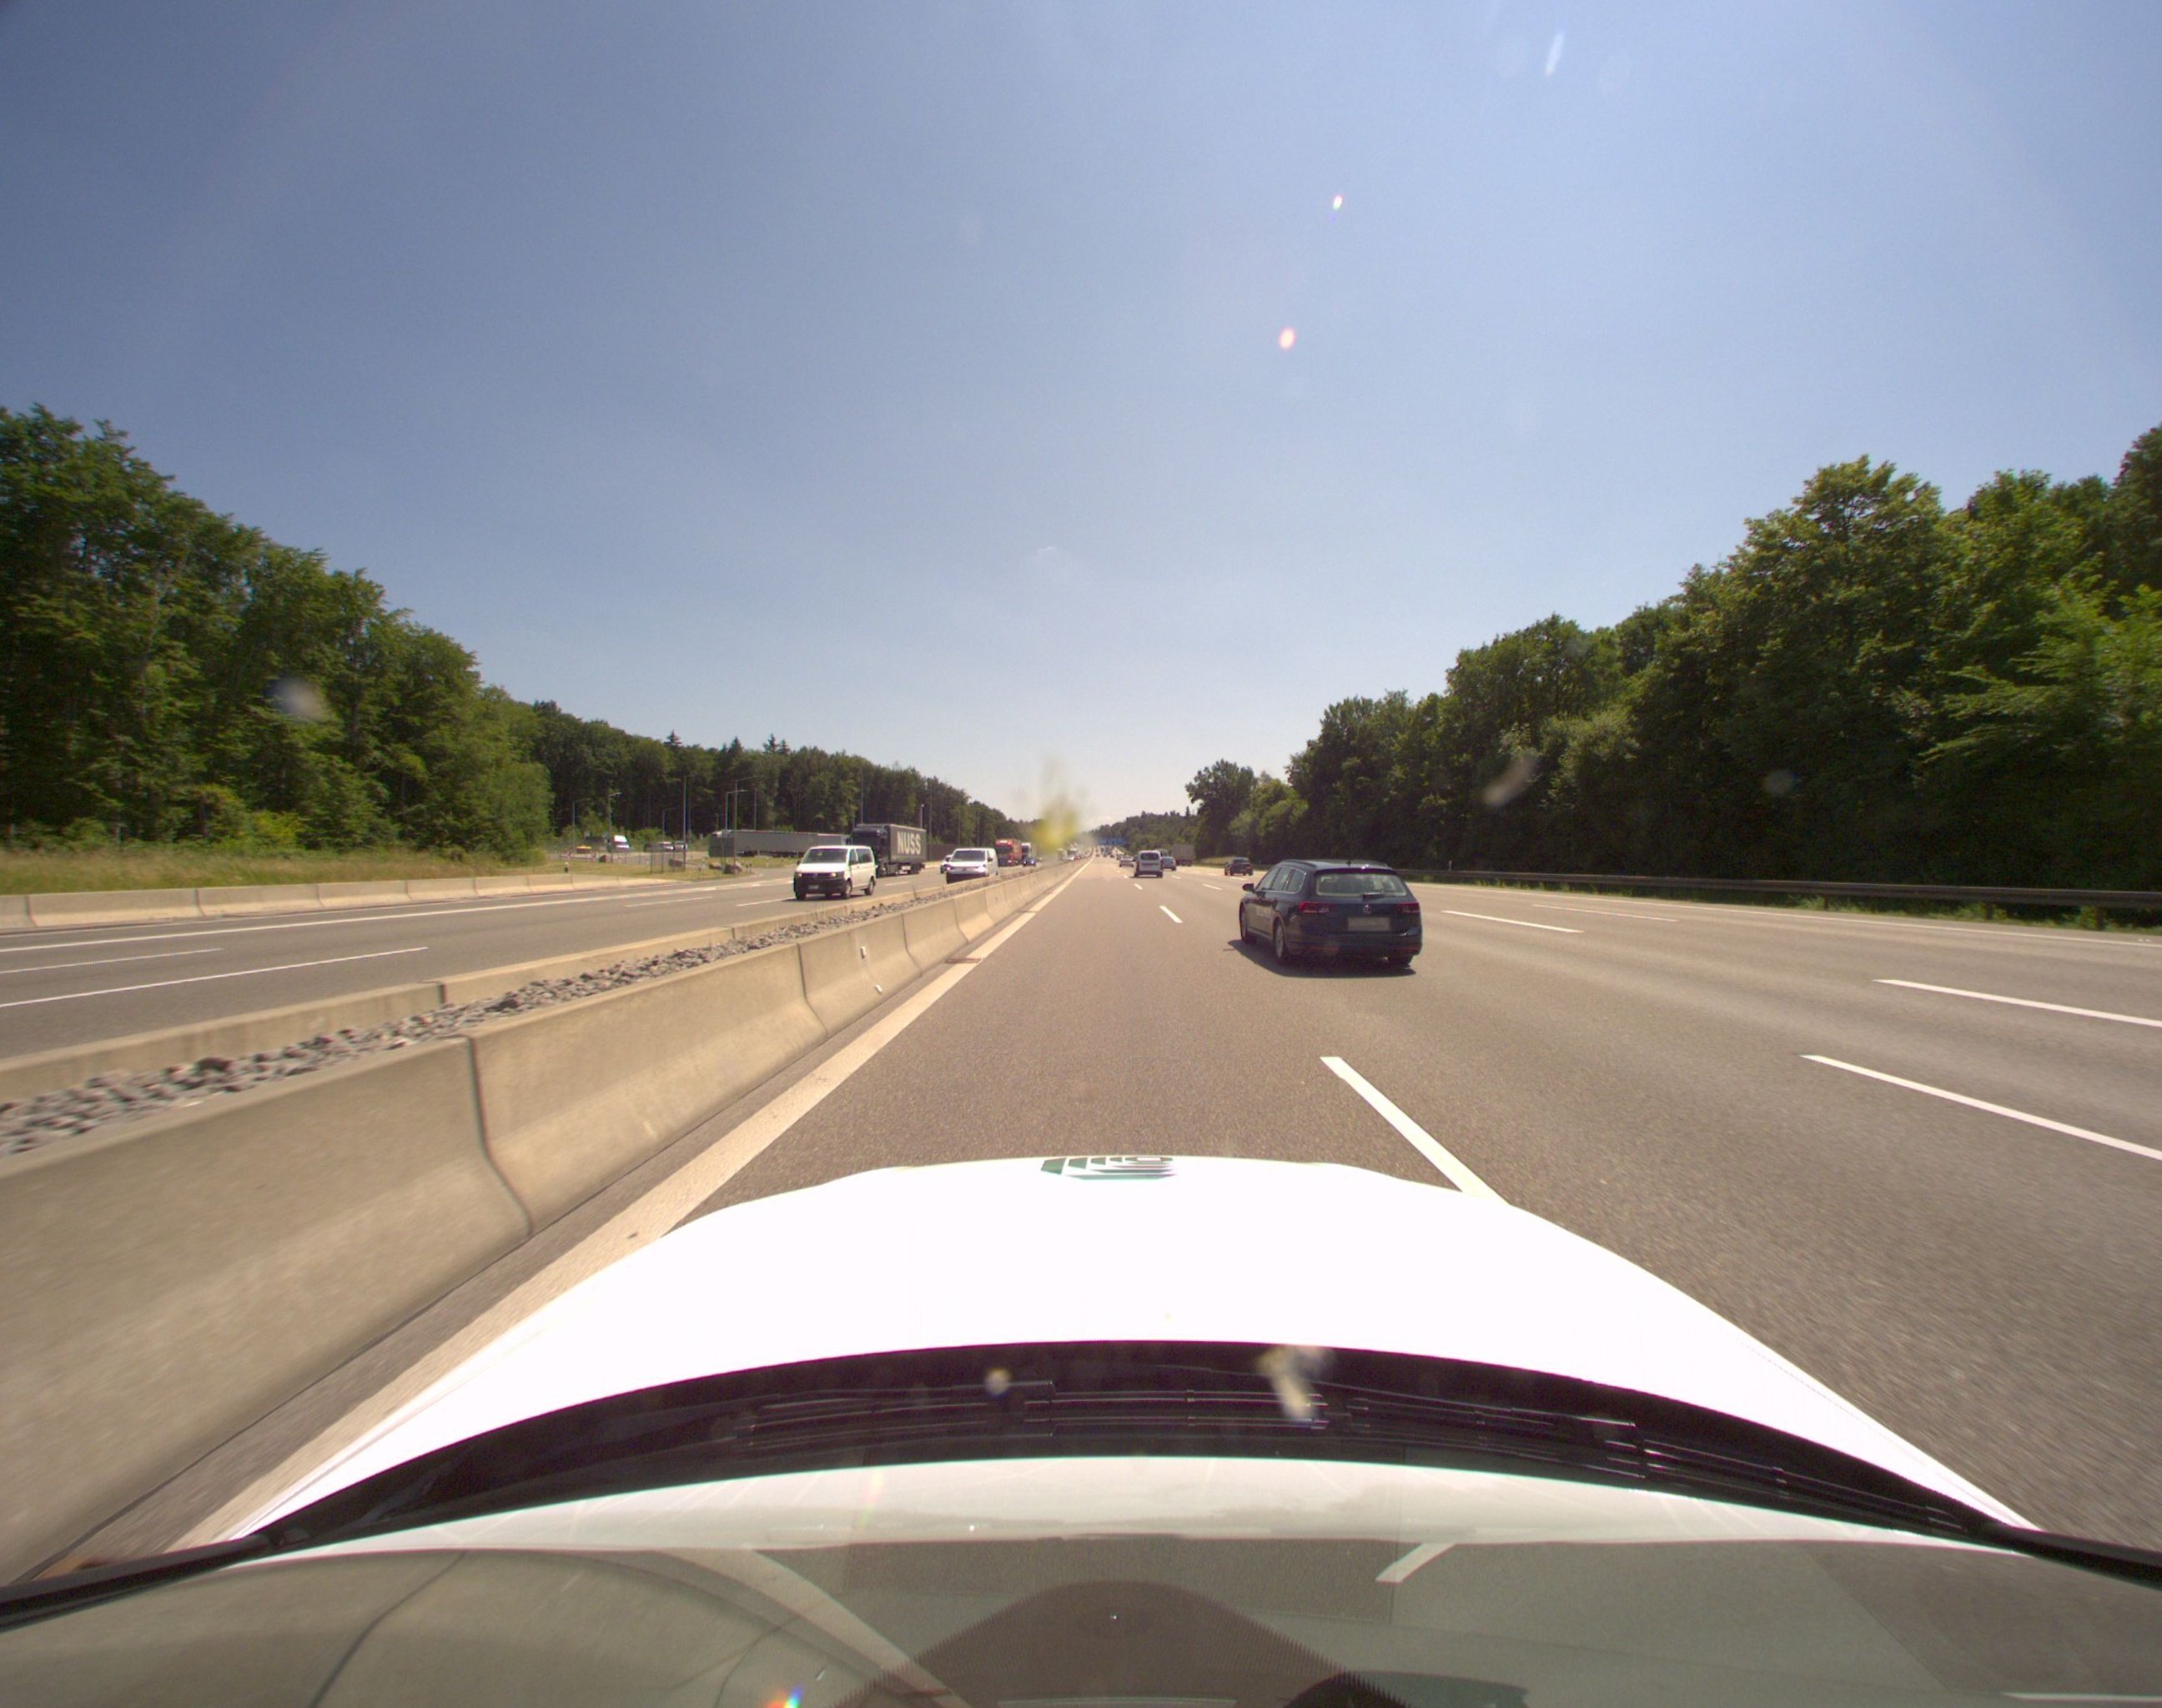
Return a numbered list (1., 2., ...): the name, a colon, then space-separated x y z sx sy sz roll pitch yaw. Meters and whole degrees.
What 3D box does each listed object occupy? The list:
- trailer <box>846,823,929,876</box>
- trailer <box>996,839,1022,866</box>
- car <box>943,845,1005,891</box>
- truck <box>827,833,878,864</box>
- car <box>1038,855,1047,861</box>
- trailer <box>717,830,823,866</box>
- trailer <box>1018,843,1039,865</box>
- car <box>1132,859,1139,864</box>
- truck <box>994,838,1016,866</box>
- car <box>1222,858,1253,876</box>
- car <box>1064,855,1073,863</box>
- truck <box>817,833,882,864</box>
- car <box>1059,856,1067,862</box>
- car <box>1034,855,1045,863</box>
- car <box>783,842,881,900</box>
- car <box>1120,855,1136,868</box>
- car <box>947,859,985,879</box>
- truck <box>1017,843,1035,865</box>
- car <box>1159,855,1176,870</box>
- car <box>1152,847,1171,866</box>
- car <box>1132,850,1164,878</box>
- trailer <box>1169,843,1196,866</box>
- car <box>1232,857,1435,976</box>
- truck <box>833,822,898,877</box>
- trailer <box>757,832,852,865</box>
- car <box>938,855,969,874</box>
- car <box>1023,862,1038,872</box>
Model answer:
1. trailer: -15.907 -0.321 68.465 3.330 4.001 14.281 0 0 1
2. trailer: -11.163 -0.205 127.301 2.562 4.050 14.184 0 0 1
3. car: -5.081 0.650 39.512 2.069 2.044 5.713 0 0 2
4. truck: -41.945 -0.940 149.453 8.537 5.613 3.188 1 0 -45
5. car: -10.086 1.043 214.799 1.986 1.774 5.924 0 0 1
6. trailer: -45.992 -0.841 120.992 14.650 5.072 3.091 1 0 -45
7. trailer: -9.909 -0.025 154.860 2.744 4.001 14.469 0 0 1
8. car: 15.598 2.116 232.138 1.829 1.338 3.643 0 0 1
9. truck: -11.258 -0.235 120.453 2.519 4.049 6.473 0 0 1
10. car: 12.255 1.008 64.157 1.665 1.273 4.290 2 0 1
11. car: -2.880 1.173 193.482 1.986 1.774 5.039 0 0 1
12. truck: -43.372 -0.922 152.813 11.604 5.613 3.188 1 0 -45
13. car: -5.033 1.325 226.446 1.986 1.774 5.924 0 0 1
14. car: -9.474 1.141 185.933 1.986 1.774 5.039 0 0 1
15. car: -9.233 0.611 30.707 1.986 2.014 5.131 0 0 2
16. car: 6.104 0.969 106.689 1.837 1.629 4.553 0 0 1
17. car: -8.541 1.092 60.824 1.986 1.377 5.012 0 0 2
18. truck: -9.995 0.046 148.241 2.725 4.031 6.782 0 0 1
19. car: 8.891 0.835 84.088 1.498 1.500 3.651 0 0 2
20. car: 11.653 0.286 118.070 2.136 2.652 5.711 1 1 1
21. car: 4.578 0.672 55.873 1.853 1.826 4.612 0 0 0
22. trailer: 18.663 0.050 150.789 3.276 3.930 13.891 2 1 0
23. car: 3.569 0.778 12.528 1.723 1.447 4.963 -1 0 2
24. truck: -16.011 -0.304 60.995 3.276 3.931 5.540 0 0 1
25. trailer: -44.658 -0.772 132.233 14.650 5.072 3.184 1 0 -45
26. car: -11.777 0.981 75.433 1.986 1.670 4.613 0 0 1
27. car: -7.188 1.791 115.864 1.815 1.387 4.316 0 0 1
